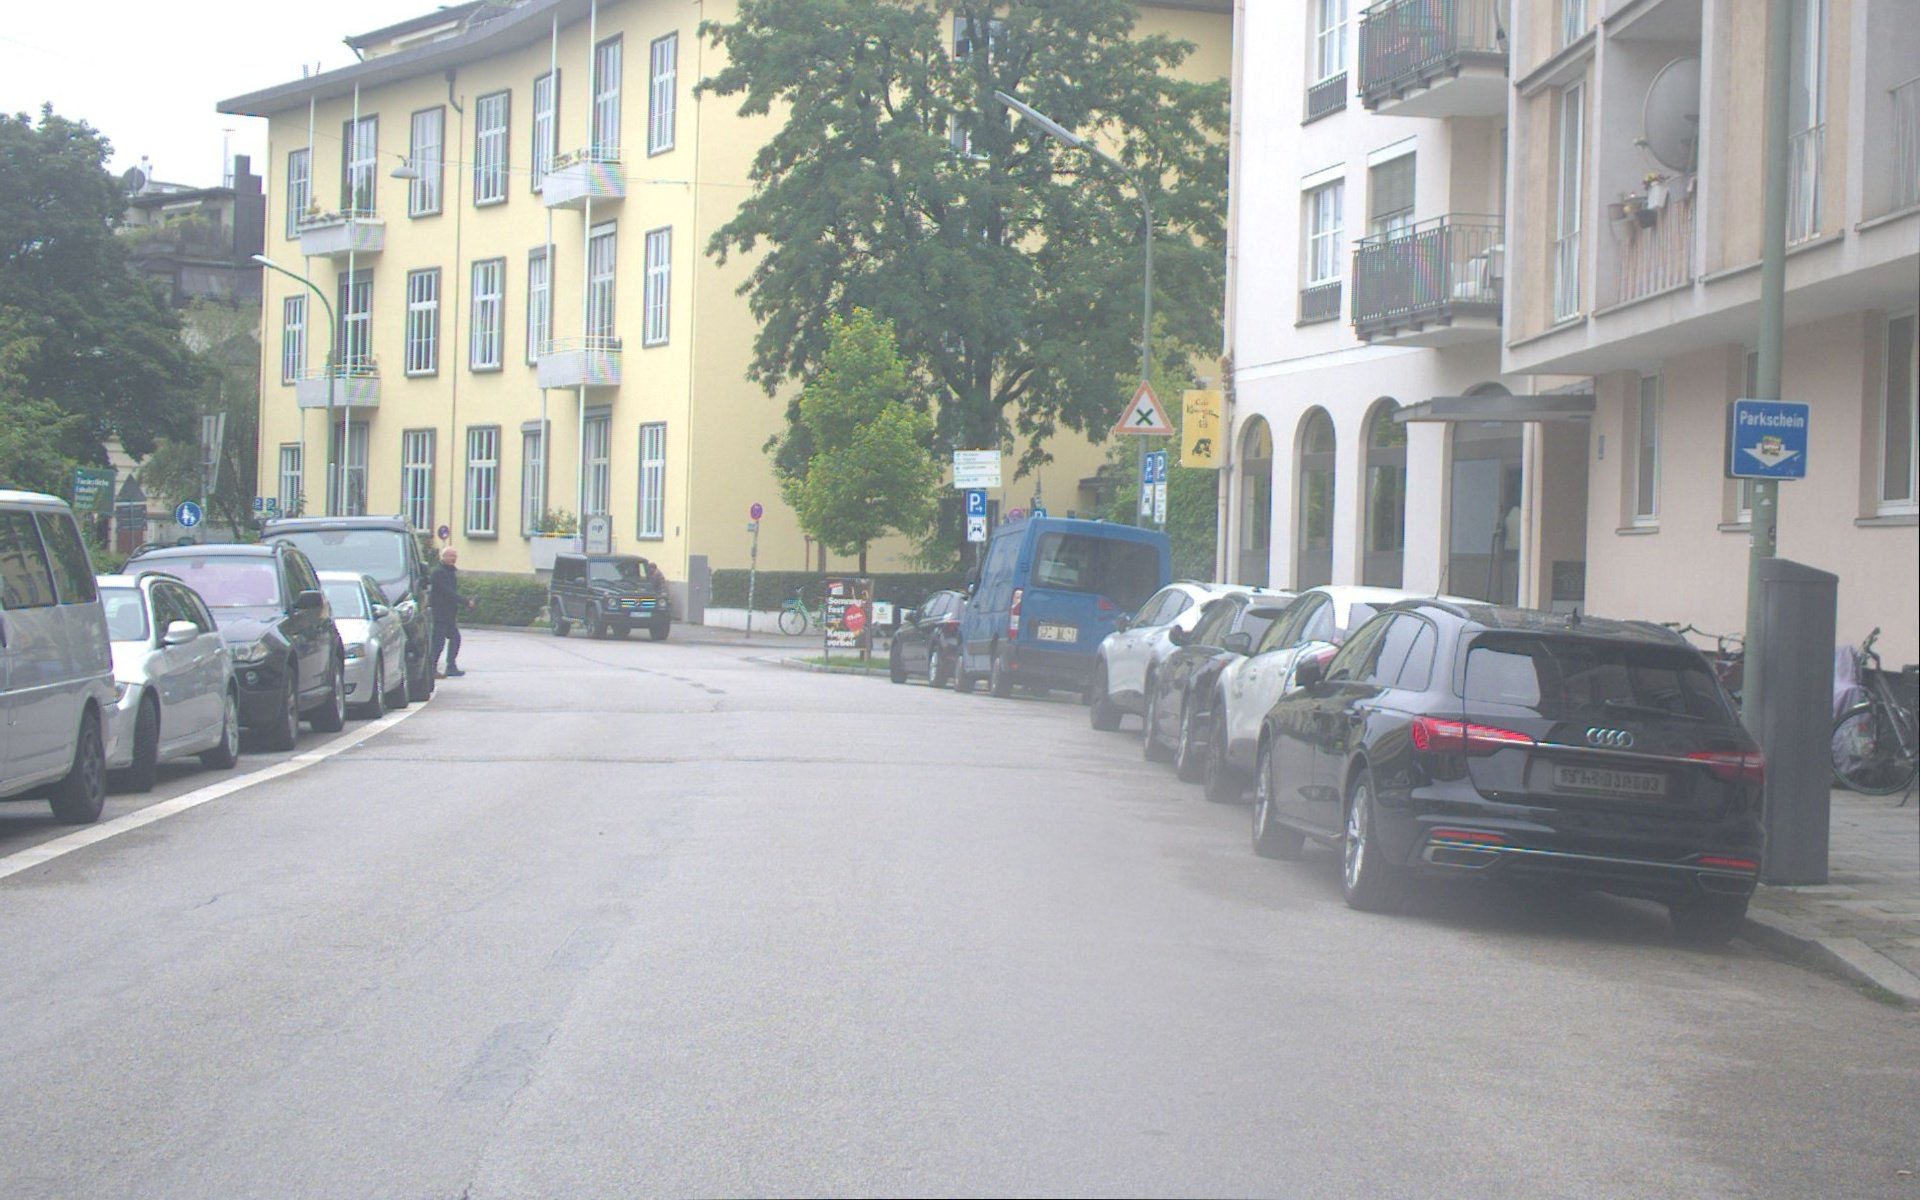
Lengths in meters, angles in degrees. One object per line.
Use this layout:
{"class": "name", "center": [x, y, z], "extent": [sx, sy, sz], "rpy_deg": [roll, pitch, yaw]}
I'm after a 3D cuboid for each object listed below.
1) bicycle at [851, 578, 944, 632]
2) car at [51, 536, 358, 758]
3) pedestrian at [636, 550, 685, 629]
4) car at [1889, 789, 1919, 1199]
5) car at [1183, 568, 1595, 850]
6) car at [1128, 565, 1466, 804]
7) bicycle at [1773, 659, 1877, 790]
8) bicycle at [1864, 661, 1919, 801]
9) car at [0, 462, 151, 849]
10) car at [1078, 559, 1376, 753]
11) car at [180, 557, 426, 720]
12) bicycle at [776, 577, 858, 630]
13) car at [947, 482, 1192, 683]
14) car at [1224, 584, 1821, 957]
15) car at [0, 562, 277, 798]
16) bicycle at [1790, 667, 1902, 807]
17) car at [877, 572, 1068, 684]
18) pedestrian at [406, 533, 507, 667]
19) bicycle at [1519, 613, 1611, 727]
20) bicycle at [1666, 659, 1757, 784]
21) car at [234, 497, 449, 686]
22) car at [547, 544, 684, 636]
{"class": "bicycle", "center": [-1.460, 0.112, 80.329], "extent": [2.068, 1.197, 0.595], "rpy_deg": [2, 1, 12]}
{"class": "car", "center": [-6.097, 0.324, 28.217], "extent": [1.697, 1.637, 4.491], "rpy_deg": [-1, 1, -3]}
{"class": "pedestrian", "center": [-7.025, -0.247, 80.631], "extent": [0.874, 1.817, 0.798], "rpy_deg": [2, 1, -22]}
{"class": "car", "center": [2.993, 0.764, 6.302], "extent": [1.650, 1.490, 2.881], "rpy_deg": [4, 1, -1]}
{"class": "car", "center": [2.618, 0.608, 22.037], "extent": [1.694, 1.484, 4.581], "rpy_deg": [4, 1, -4]}
{"class": "car", "center": [2.526, 0.576, 27.070], "extent": [1.879, 1.517, 5.164], "rpy_deg": [5, 1, -2]}
{"class": "bicycle", "center": [6.464, 0.917, 25.743], "extent": [0.378, 0.902, 1.392], "rpy_deg": [2, 1, -1]}
{"class": "bicycle", "center": [6.705, 0.908, 23.975], "extent": [0.378, 0.902, 1.392], "rpy_deg": [2, 1, -1]}
{"class": "car", "center": [-5.638, 0.279, 17.575], "extent": [1.887, 1.883, 4.774], "rpy_deg": [-1, 1, -1]}
{"class": "car", "center": [2.418, 0.466, 32.400], "extent": [1.785, 1.528, 4.649], "rpy_deg": [5, 0, -7]}
{"class": "car", "center": [-6.324, 0.321, 33.521], "extent": [1.694, 1.388, 4.501], "rpy_deg": [-3, 1, -3]}
{"class": "bicycle", "center": [-3.391, 0.082, 81.468], "extent": [1.926, 1.197, 0.594], "rpy_deg": [2, 1, 35]}
{"class": "car", "center": [1.320, -0.166, 44.062], "extent": [2.078, 2.226, 5.245], "rpy_deg": [6, -2, -8]}
{"class": "car", "center": [2.587, 0.715, 17.093], "extent": [1.745, 1.383, 4.954], "rpy_deg": [5, 1, -4]}
{"class": "car", "center": [-5.936, 0.475, 23.462], "extent": [1.653, 1.409, 4.771], "rpy_deg": [-2, 1, -1]}
{"class": "bicycle", "center": [6.262, 0.957, 24.337], "extent": [0.378, 0.902, 1.392], "rpy_deg": [2, 1, -1]}
{"class": "car", "center": [0.130, 0.380, 50.185], "extent": [1.676, 1.384, 4.307], "rpy_deg": [5, 0, -14]}
{"class": "pedestrian", "center": [-6.864, -0.003, 46.862], "extent": [0.934, 1.794, 0.954], "rpy_deg": [2, 1, 41]}
{"class": "bicycle", "center": [6.278, 0.716, 35.760], "extent": [0.455, 1.107, 1.854], "rpy_deg": [2, 1, -4]}
{"class": "bicycle", "center": [5.856, 0.934, 26.825], "extent": [0.378, 0.902, 1.392], "rpy_deg": [1, 1, -1]}
{"class": "car", "center": [-6.885, -0.120, 38.754], "extent": [2.072, 1.957, 5.351], "rpy_deg": [-1, 1, -7]}
{"class": "car", "center": [-8.090, -0.250, 80.396], "extent": [1.762, 1.868, 4.380], "rpy_deg": [6, 0, -24]}
